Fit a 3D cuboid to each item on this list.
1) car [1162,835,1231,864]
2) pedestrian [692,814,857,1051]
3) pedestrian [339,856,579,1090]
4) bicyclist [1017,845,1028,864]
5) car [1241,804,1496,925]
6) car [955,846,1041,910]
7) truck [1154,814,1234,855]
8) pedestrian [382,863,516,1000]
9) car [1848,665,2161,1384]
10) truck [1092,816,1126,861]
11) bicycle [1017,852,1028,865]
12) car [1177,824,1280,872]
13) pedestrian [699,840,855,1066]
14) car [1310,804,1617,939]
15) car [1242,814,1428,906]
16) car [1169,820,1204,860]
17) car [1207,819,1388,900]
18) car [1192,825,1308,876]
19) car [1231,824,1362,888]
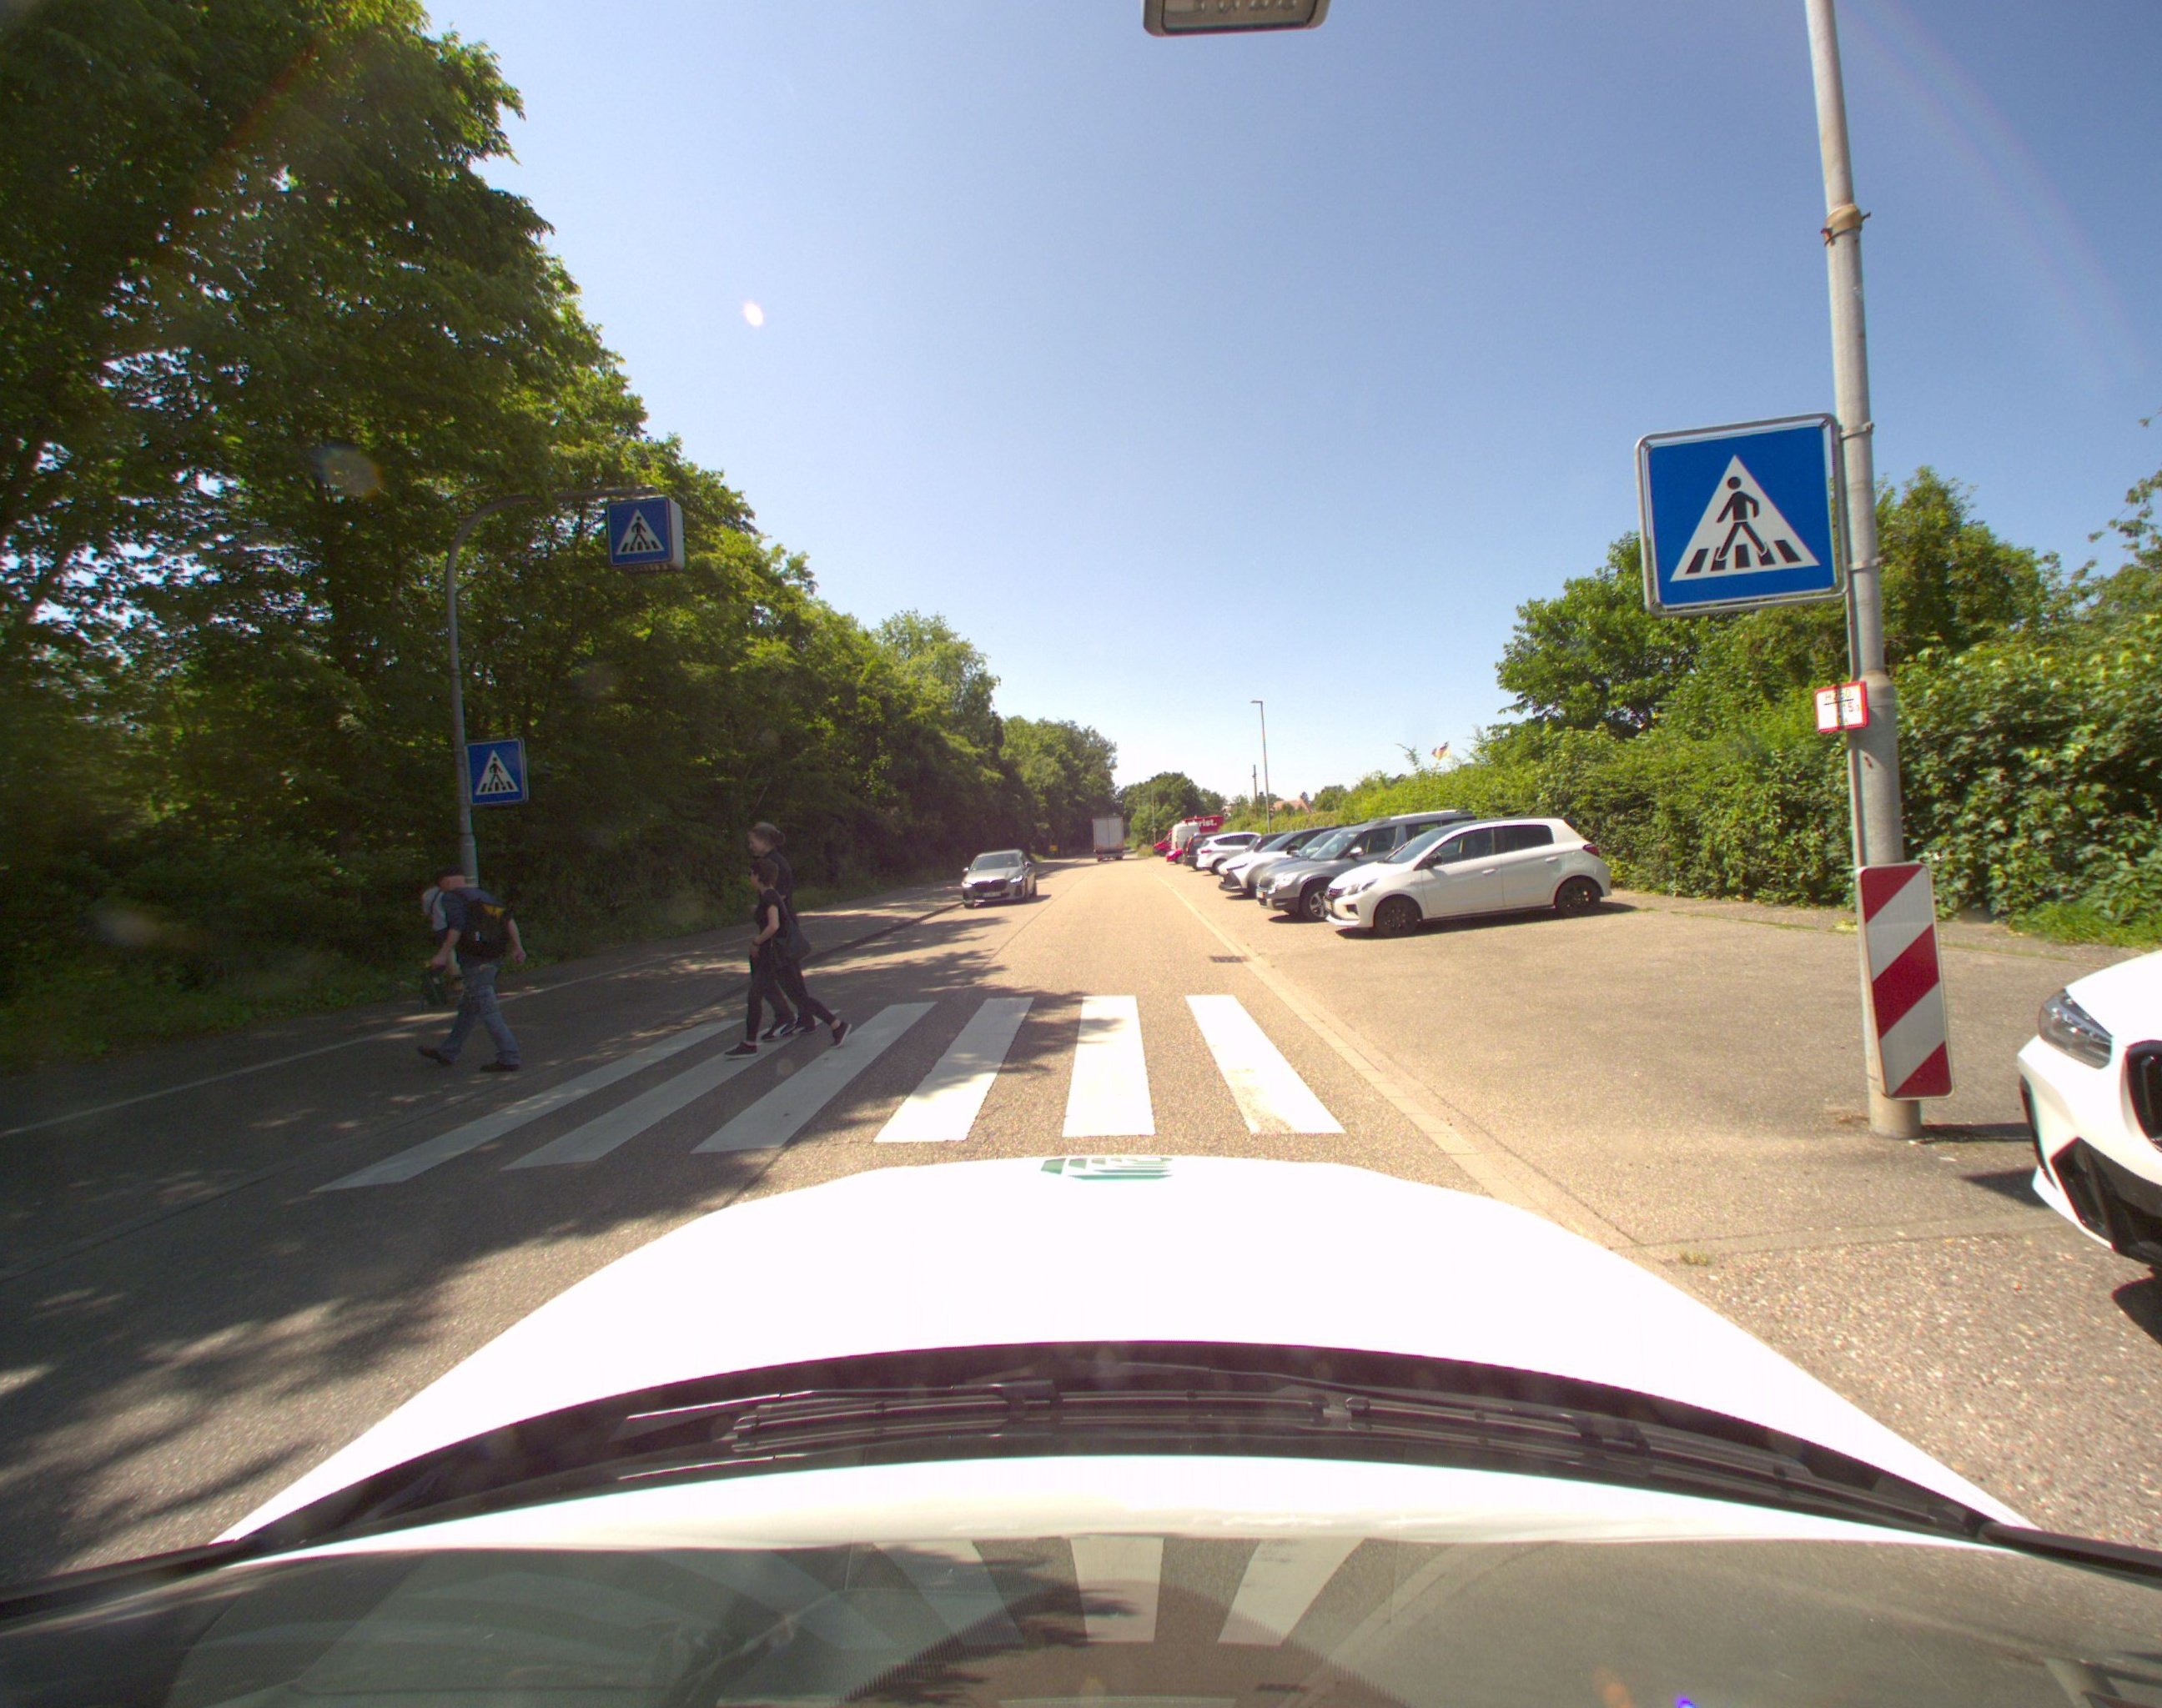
[{"bbox_3d":[7.376,-0.315,52.202,4.042,1.434,1.835,-6,1,-1],"label":"car"},{"bbox_3d":[-2.630,0.643,7.121,1.083,1.864,0.781,-4,0,-10],"label":"pedestrian"},{"bbox_3d":[-5.130,0.920,6.820,1.152,1.751,1.023,-2,0,-2],"label":"pedestrian"},{"bbox_3d":[-4.954,0.029,68.780,0.645,1.565,0.838,-3,0,6],"label":"bicyclist"},{"bbox_3d":[5.149,0.163,14.910,3.952,1.640,1.662,-7,1,-4],"label":"car"},{"bbox_3d":[-2.398,0.636,24.538,1.884,1.532,4.198,-7,1,1],"label":"car"},{"bbox_3d":[10.661,-1.841,76.692,7.088,3.439,2.338,-3,1,12],"label":"truck"},{"bbox_3d":[-8.064,0.959,10.437,0.929,1.612,0.886,-3,1,1],"label":"pedestrian"},{"bbox_3d":[4.754,0.234,1.668,4.436,1.729,1.852,-5,0,2],"label":"car"},{"bbox_3d":[2.754,-1.424,75.996,2.722,3.745,13.258,-2,1,3],"label":"truck"},{"bbox_3d":[-4.936,0.392,68.773,0.558,1.027,1.842,-3,1,7],"label":"bicycle"},{"bbox_3d":[7.076,-0.291,39.335,4.441,1.804,1.951,-6,0,-2],"label":"car"},{"bbox_3d":[-2.400,0.745,6.541,0.893,1.611,0.778,-5,0,-10],"label":"pedestrian"},{"bbox_3d":[5.450,0.233,11.990,3.671,1.450,1.613,-7,1,6],"label":"car"},{"bbox_3d":[5.488,0.118,17.833,3.445,1.527,1.538,-7,1,-3],"label":"car"},{"bbox_3d":[8.047,-1.081,62.698,1.946,2.733,7.175,-5,1,4],"label":"car"},{"bbox_3d":[5.403,0.123,20.690,3.955,1.522,1.862,-7,1,-4],"label":"car"},{"bbox_3d":[6.818,-0.152,33.125,4.262,1.578,1.765,-6,1,0],"label":"car"},{"bbox_3d":[6.199,0.036,23.682,3.371,1.503,1.590,-5,1,5],"label":"car"}]
